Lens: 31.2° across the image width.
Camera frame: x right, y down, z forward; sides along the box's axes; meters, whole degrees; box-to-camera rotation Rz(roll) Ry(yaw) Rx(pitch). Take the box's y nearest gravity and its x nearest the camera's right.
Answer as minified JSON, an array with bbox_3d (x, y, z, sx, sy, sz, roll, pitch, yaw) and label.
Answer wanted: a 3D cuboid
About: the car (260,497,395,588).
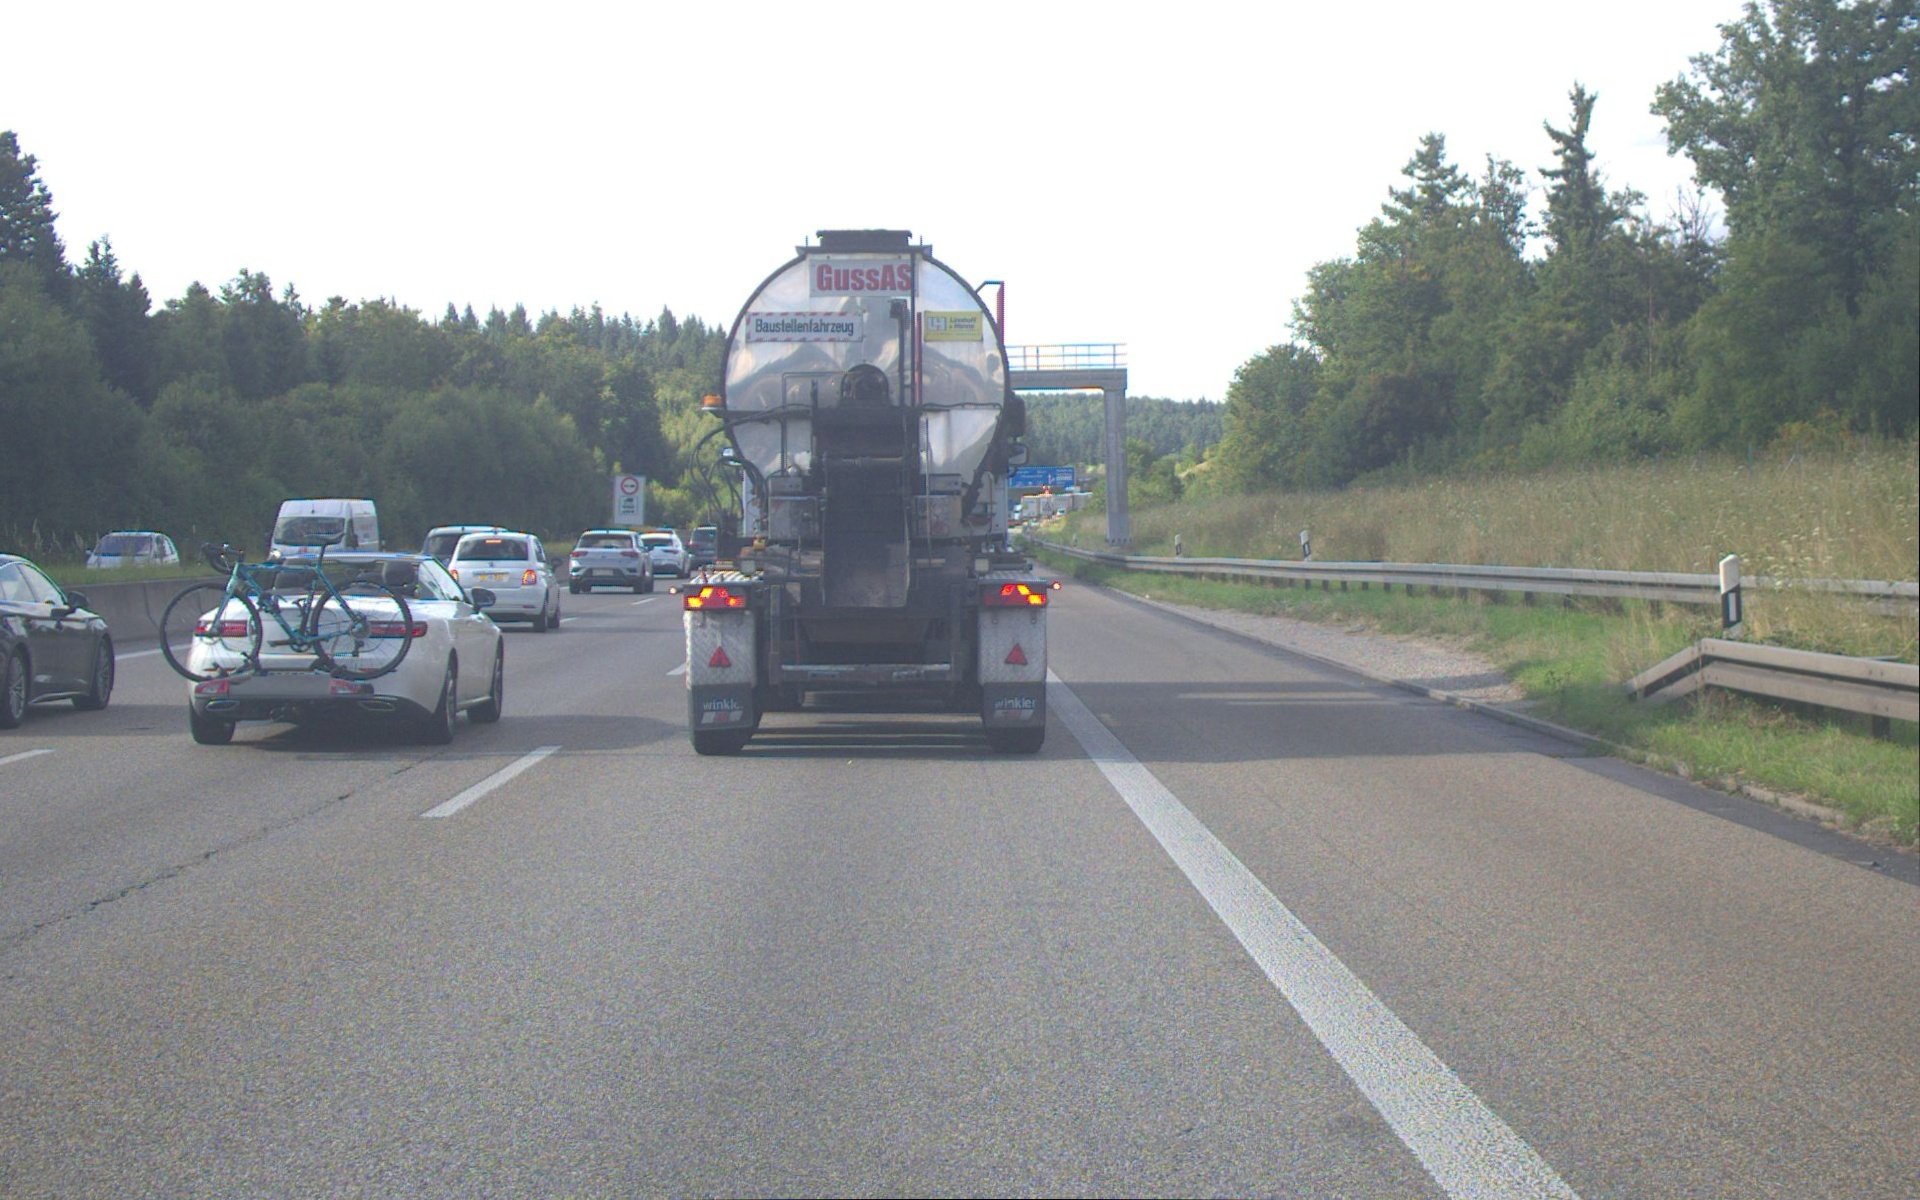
[{"bbox_3d":[-16.735,-1.534,91.286,2.579,2.338,5.829,0,1,-1],"label":"car"}]

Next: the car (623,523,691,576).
[{"bbox_3d":[-9.526,-1.600,108.308,1.806,1.580,4.207,0,2,-1],"label":"car"}]

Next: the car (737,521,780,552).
[{"bbox_3d":[-9.982,-3.161,170.692,1.942,1.451,4.207,0,2,-1],"label":"car"}]

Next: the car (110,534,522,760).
[{"bbox_3d":[-4.667,0.258,25.844,2.060,1.494,5.736,0,1,0],"label":"car"}]

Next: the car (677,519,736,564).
[{"bbox_3d":[-9.346,-2.172,127.141,1.942,1.580,4.207,0,2,-1],"label":"car"}]

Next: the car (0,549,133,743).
[{"bbox_3d":[-8.155,0.321,27.680,1.856,1.426,4.841,0,1,0],"label":"car"}]

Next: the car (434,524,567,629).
[{"bbox_3d":[-7.007,-0.376,52.672,1.618,1.539,3.520,0,1,-1],"label":"car"}]

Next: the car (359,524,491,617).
[{"bbox_3d":[-9.672,-0.564,62.382,1.806,1.580,4.207,0,2,-1],"label":"car"}]

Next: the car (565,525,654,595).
[{"bbox_3d":[-8.506,-0.994,83.674,1.806,1.580,4.207,0,2,-1],"label":"car"}]

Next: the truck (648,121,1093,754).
[{"bbox_3d":[-0.612,-1.188,28.172,2.912,4.143,11.270,0,1,0],"label":"truck"}]
